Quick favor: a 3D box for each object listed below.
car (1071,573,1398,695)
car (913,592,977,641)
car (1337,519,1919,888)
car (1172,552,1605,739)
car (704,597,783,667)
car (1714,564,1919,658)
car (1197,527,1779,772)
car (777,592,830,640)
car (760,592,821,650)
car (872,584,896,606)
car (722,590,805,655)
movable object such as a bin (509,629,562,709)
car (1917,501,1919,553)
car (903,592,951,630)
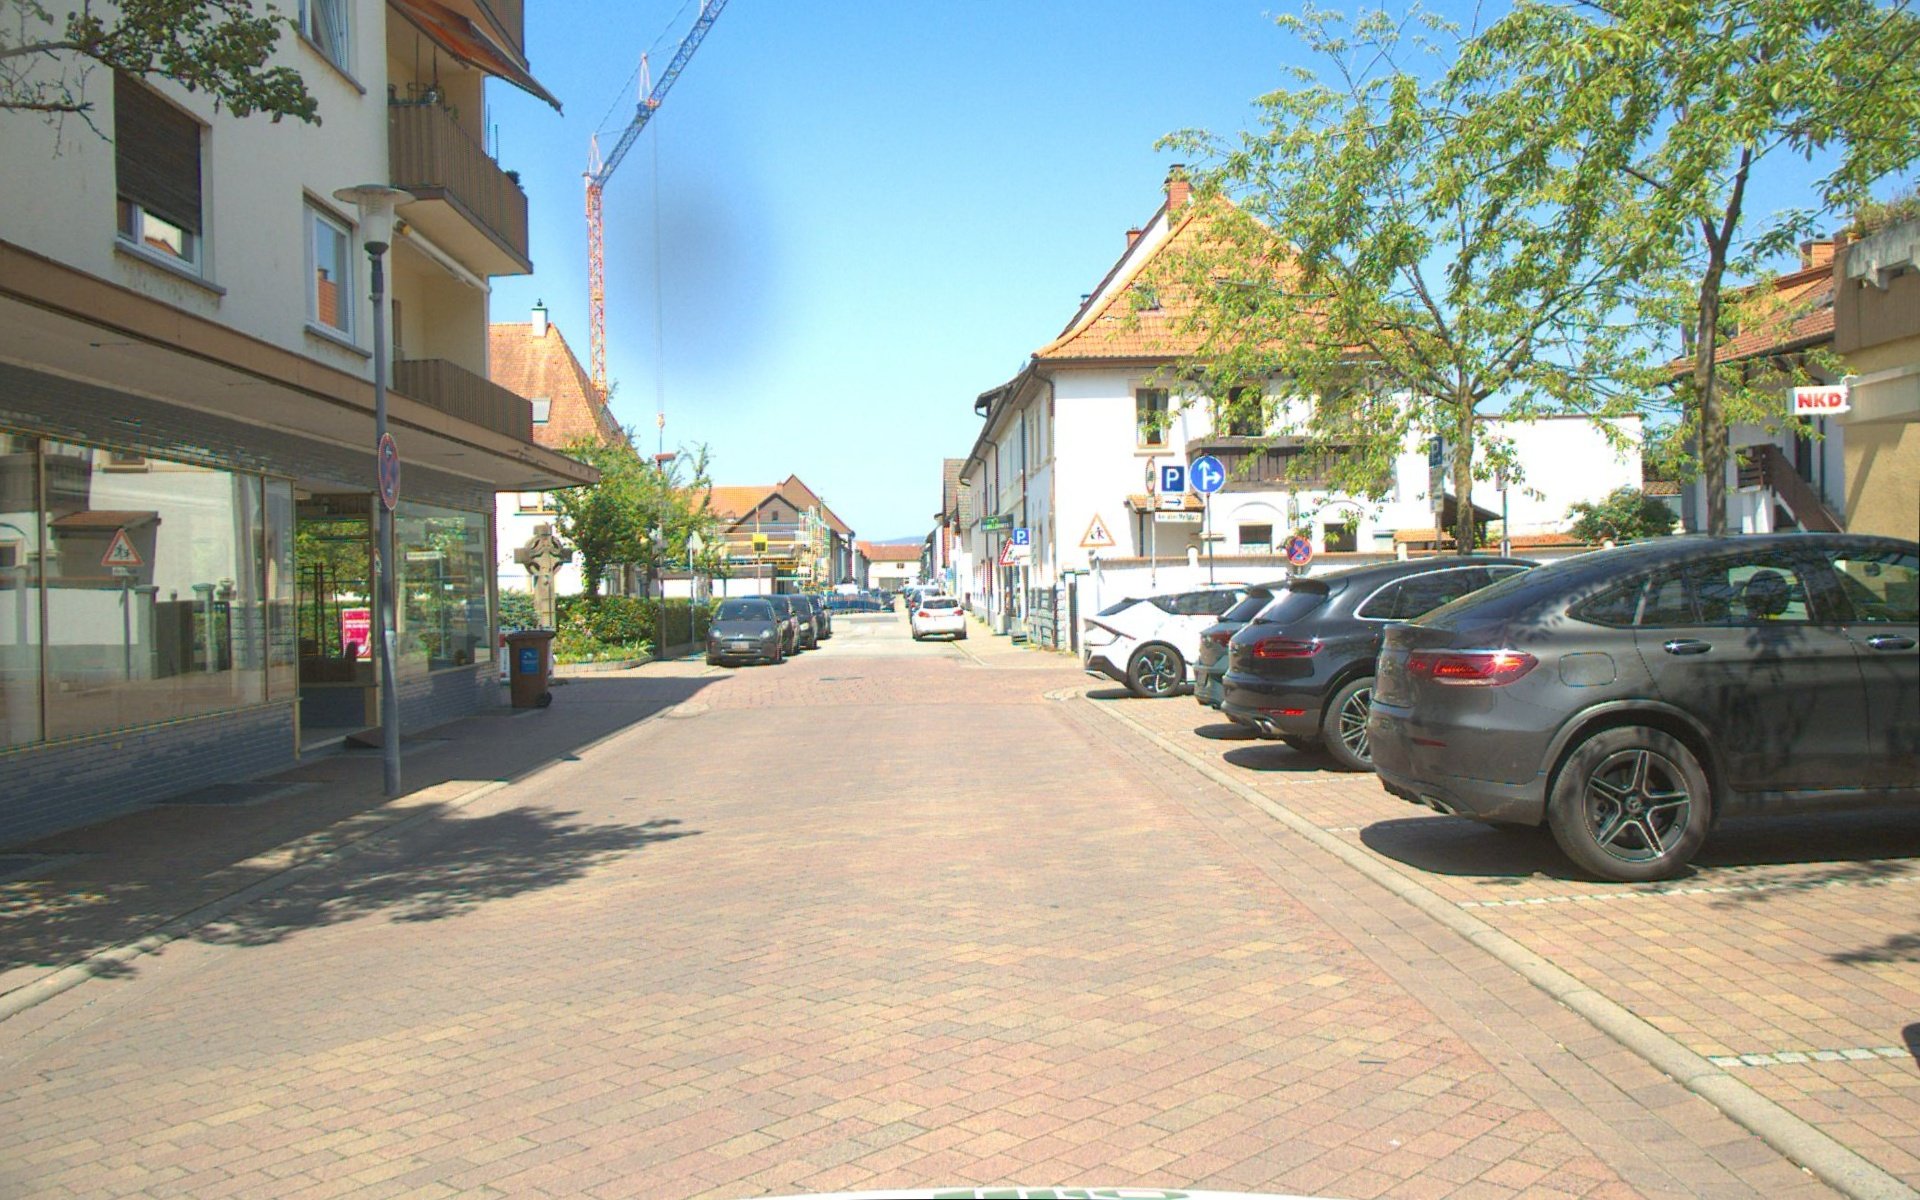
[{"bbox_3d":[3.894,0.464,23.918,4.353,1.603,1.787,-1,0,-5],"label":"car"},{"bbox_3d":[-0.487,0.543,57.972,1.847,1.569,4.245,-1,0,4],"label":"car"},{"bbox_3d":[4.405,0.426,8.648,4.415,1.616,1.851,-3,0,1],"label":"car"},{"bbox_3d":[4.280,0.430,16.932,3.865,1.560,1.823,-4,0,-3],"label":"car"},{"bbox_3d":[-5.066,0.712,39.103,1.669,1.523,3.853,-1,0,-5],"label":"car"},{"bbox_3d":[15.328,0.170,28.902,3.541,1.477,1.654,-2,1,-1],"label":"car"},{"bbox_3d":[4.299,0.376,13.946,4.194,1.710,1.999,-3,0,-4],"label":"car"},{"bbox_3d":[-5.784,0.570,61.440,1.790,1.659,4.214,-1,0,-4],"label":"car"},{"bbox_3d":[-5.161,0.614,50.679,1.605,1.657,3.766,-1,1,-3],"label":"car"},{"bbox_3d":[-6.142,-0.375,132.906,1.844,1.697,4.151,-1,0,-3],"label":"car"},{"bbox_3d":[-5.295,0.585,44.997,1.778,1.633,4.024,-1,0,-1],"label":"car"},{"bbox_3d":[-6.014,0.965,23.450,0.643,1.089,0.662,-1,0,-8],"label":"movable object such as a bin"},{"bbox_3d":[4.677,0.424,3.780,3.945,1.640,1.681,-3,0,-1],"label":"car"},{"bbox_3d":[-1.577,0.490,77.597,1.848,1.582,3.890,-5,1,-5],"label":"car"}]
